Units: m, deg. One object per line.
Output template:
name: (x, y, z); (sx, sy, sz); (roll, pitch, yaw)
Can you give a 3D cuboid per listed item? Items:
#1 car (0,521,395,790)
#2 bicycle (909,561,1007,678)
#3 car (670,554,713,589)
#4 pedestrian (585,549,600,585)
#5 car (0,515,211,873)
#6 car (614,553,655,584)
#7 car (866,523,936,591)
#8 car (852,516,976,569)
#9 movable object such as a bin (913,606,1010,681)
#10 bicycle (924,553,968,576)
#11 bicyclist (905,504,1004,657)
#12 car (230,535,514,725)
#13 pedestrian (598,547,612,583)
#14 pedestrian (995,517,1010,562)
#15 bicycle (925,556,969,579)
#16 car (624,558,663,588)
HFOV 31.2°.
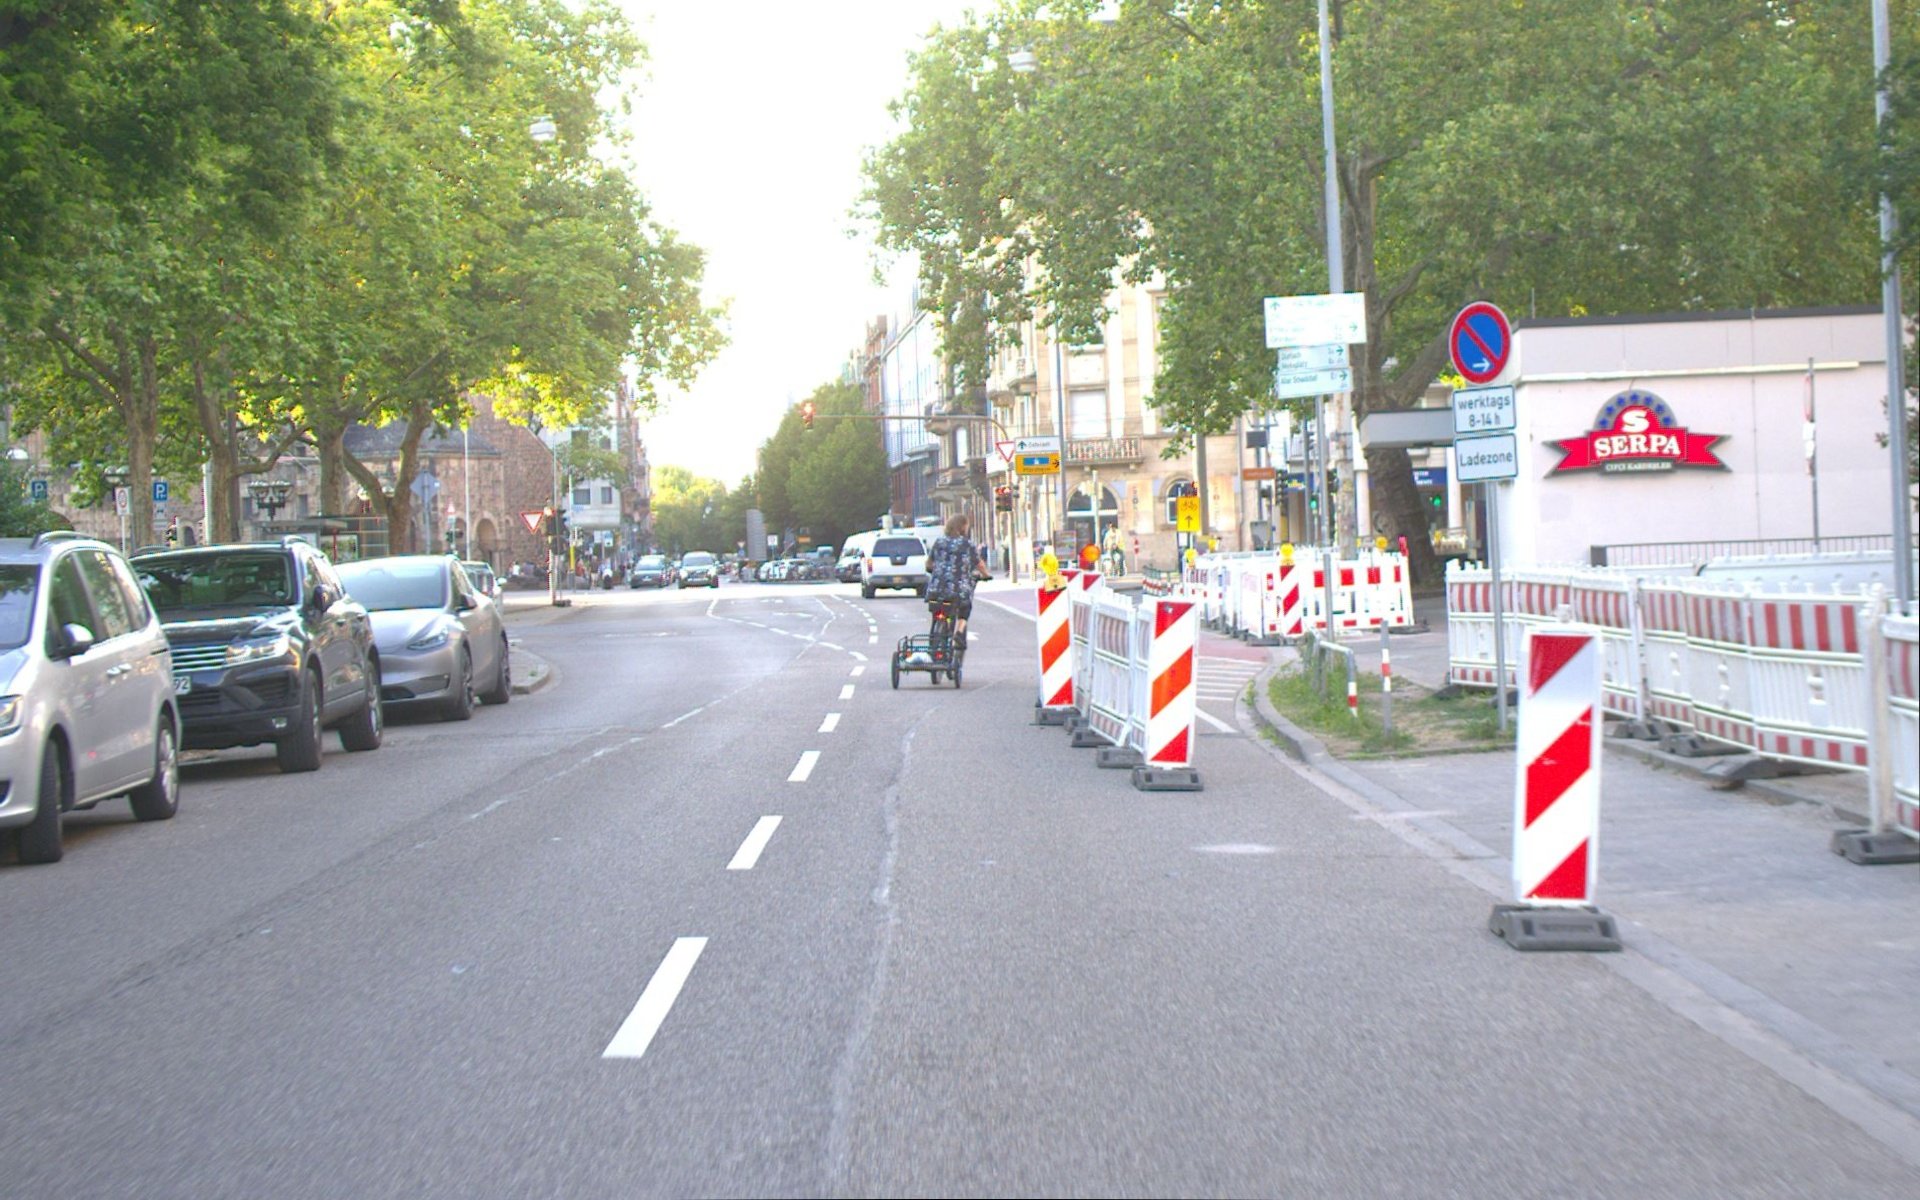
car: (-5.633, 0.344, 25.875); (1.953, 1.713, 4.771); (-4, 1, -1)
bicycle: (-0.036, 0.199, 37.543); (0.939, 1.168, 2.359); (-4, 0, -1)
car: (-12.856, -1.348, 164.494); (1.781, 1.645, 3.822); (0, 1, -8)
pedestrian: (-19.450, -1.766, 181.914); (0.593, 1.880, 0.585); (-2, 1, 5)
car: (-5.480, 0.467, 18.621); (1.846, 1.685, 4.860); (-4, 1, -2)
car: (-17.638, -1.690, 186.296); (1.993, 1.645, 3.822); (0, 1, -8)
car: (-1.696, -1.230, 97.659); (1.866, 1.808, 4.000); (-3, 1, -2)
car: (-2.110, -2.686, 159.985); (5.807, 2.280, 2.071); (-3, 1, -43)
movable object such as a bin: (0.006, 0.449, 35.868); (0.939, 0.686, 0.993); (-4, 0, -1)
bicycle: (-0.610, -1.581, 153.480); (1.914, 0.965, 0.546); (-2, 1, -2)
bicyclist: (-0.070, -0.218, 37.554); (0.939, 1.576, 1.146); (-4, 0, -1)
car: (-5.668, 0.237, 33.714); (1.953, 1.611, 4.605); (-4, 1, -1)
pedestrian: (-18.785, -1.831, 181.965); (0.593, 1.880, 0.553); (-2, 1, 5)
pedestrian: (1.788, -2.556, 144.573); (0.593, 1.880, 0.647); (-2, 1, 2)
bicycle: (-0.583, -1.469, 153.761); (1.914, 0.965, 0.546); (-2, 1, -2)
car: (-17.857, -1.512, 194.090); (1.993, 1.645, 3.822); (0, 1, -8)
